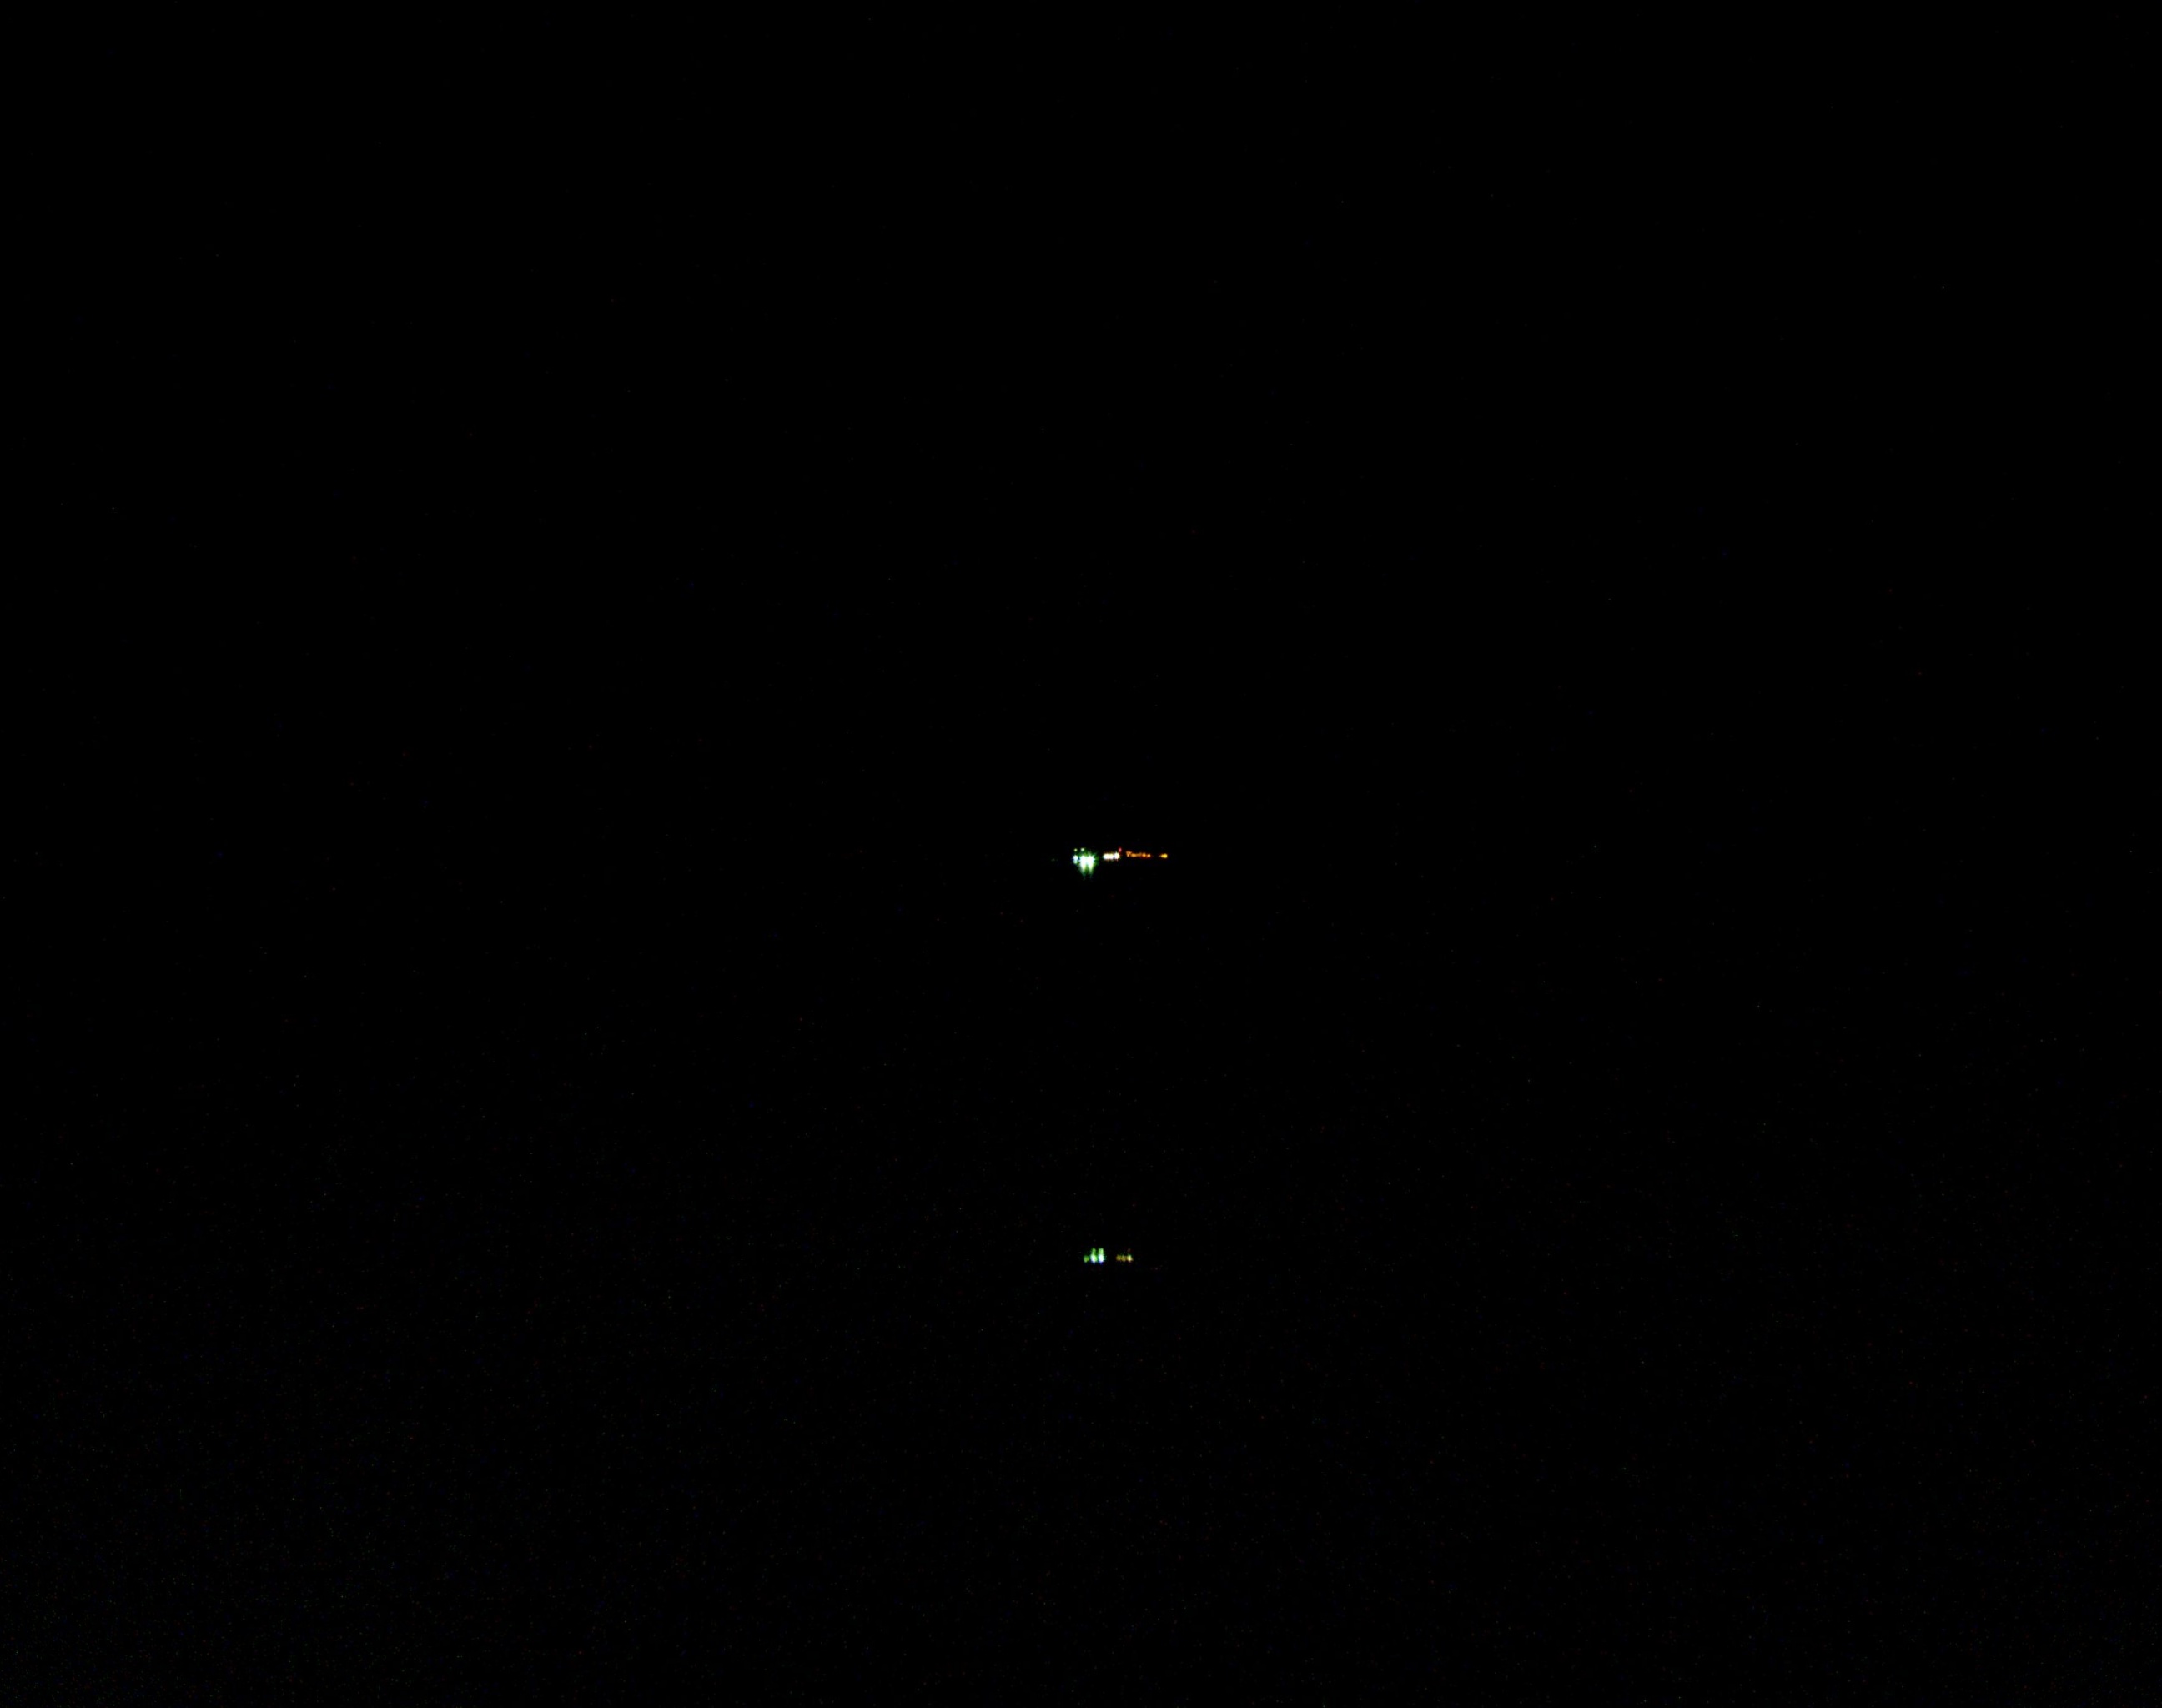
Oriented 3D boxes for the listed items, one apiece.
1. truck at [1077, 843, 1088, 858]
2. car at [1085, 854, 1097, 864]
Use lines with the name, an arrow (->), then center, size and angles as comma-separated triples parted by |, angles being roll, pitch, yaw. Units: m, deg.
truck -> 0.419, -1.018, 220.878 | 2.749, 4.182, 13.509 | -2, 0, 0
car -> 2.105, 0.934, 155.140 | 2.267, 1.842, 5.403 | -2, 0, 0
